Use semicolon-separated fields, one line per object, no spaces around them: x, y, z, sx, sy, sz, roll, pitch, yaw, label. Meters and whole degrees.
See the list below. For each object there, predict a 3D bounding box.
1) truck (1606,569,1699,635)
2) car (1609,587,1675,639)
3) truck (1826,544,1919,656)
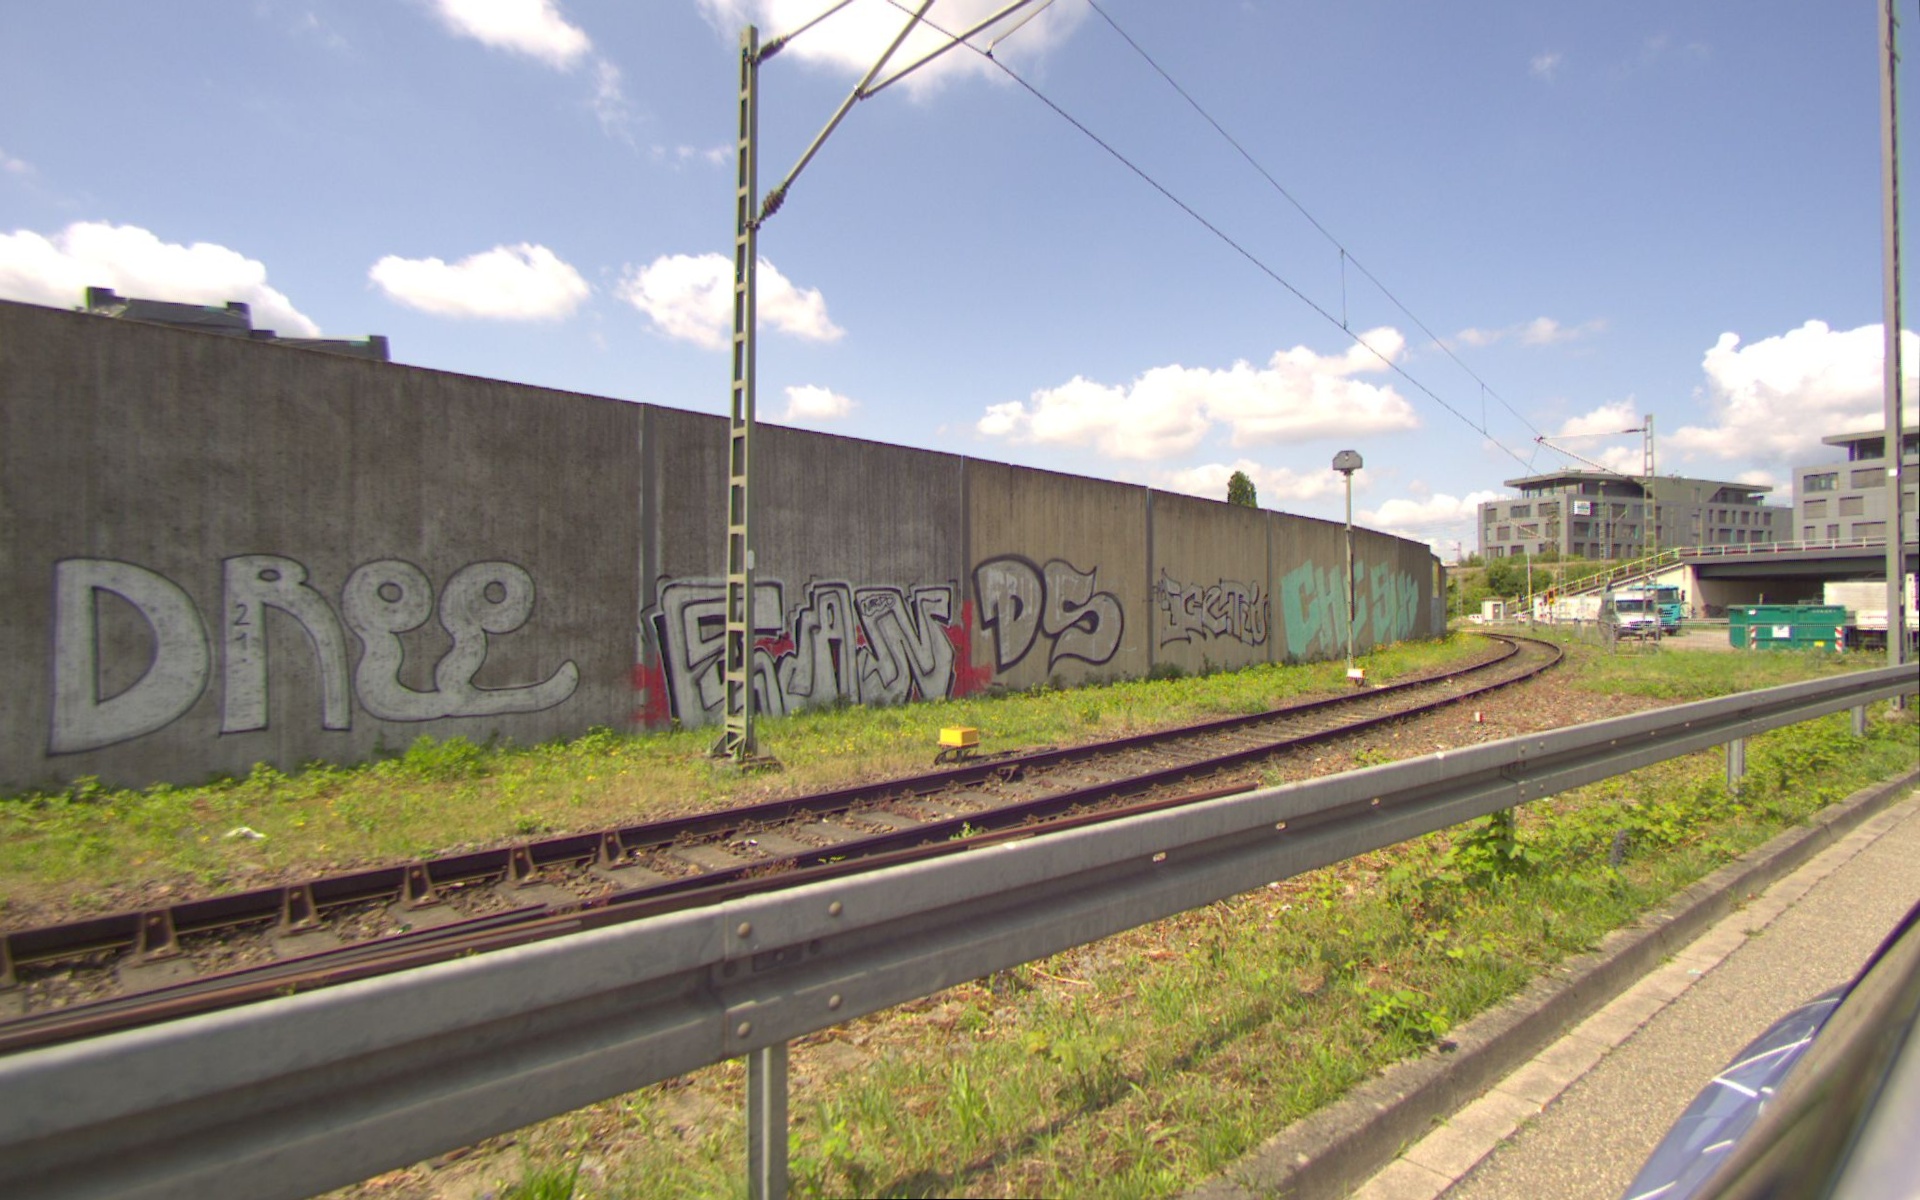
42.130;0.086;61.802;2.619;3.692;6.851;-2;0;17;truck
35.520;0.630;52.870;2.046;2.559;5.827;-2;-1;27;car
32.215;-0.036;34.597;2.974;3.462;8.016;0;0;33;truck
